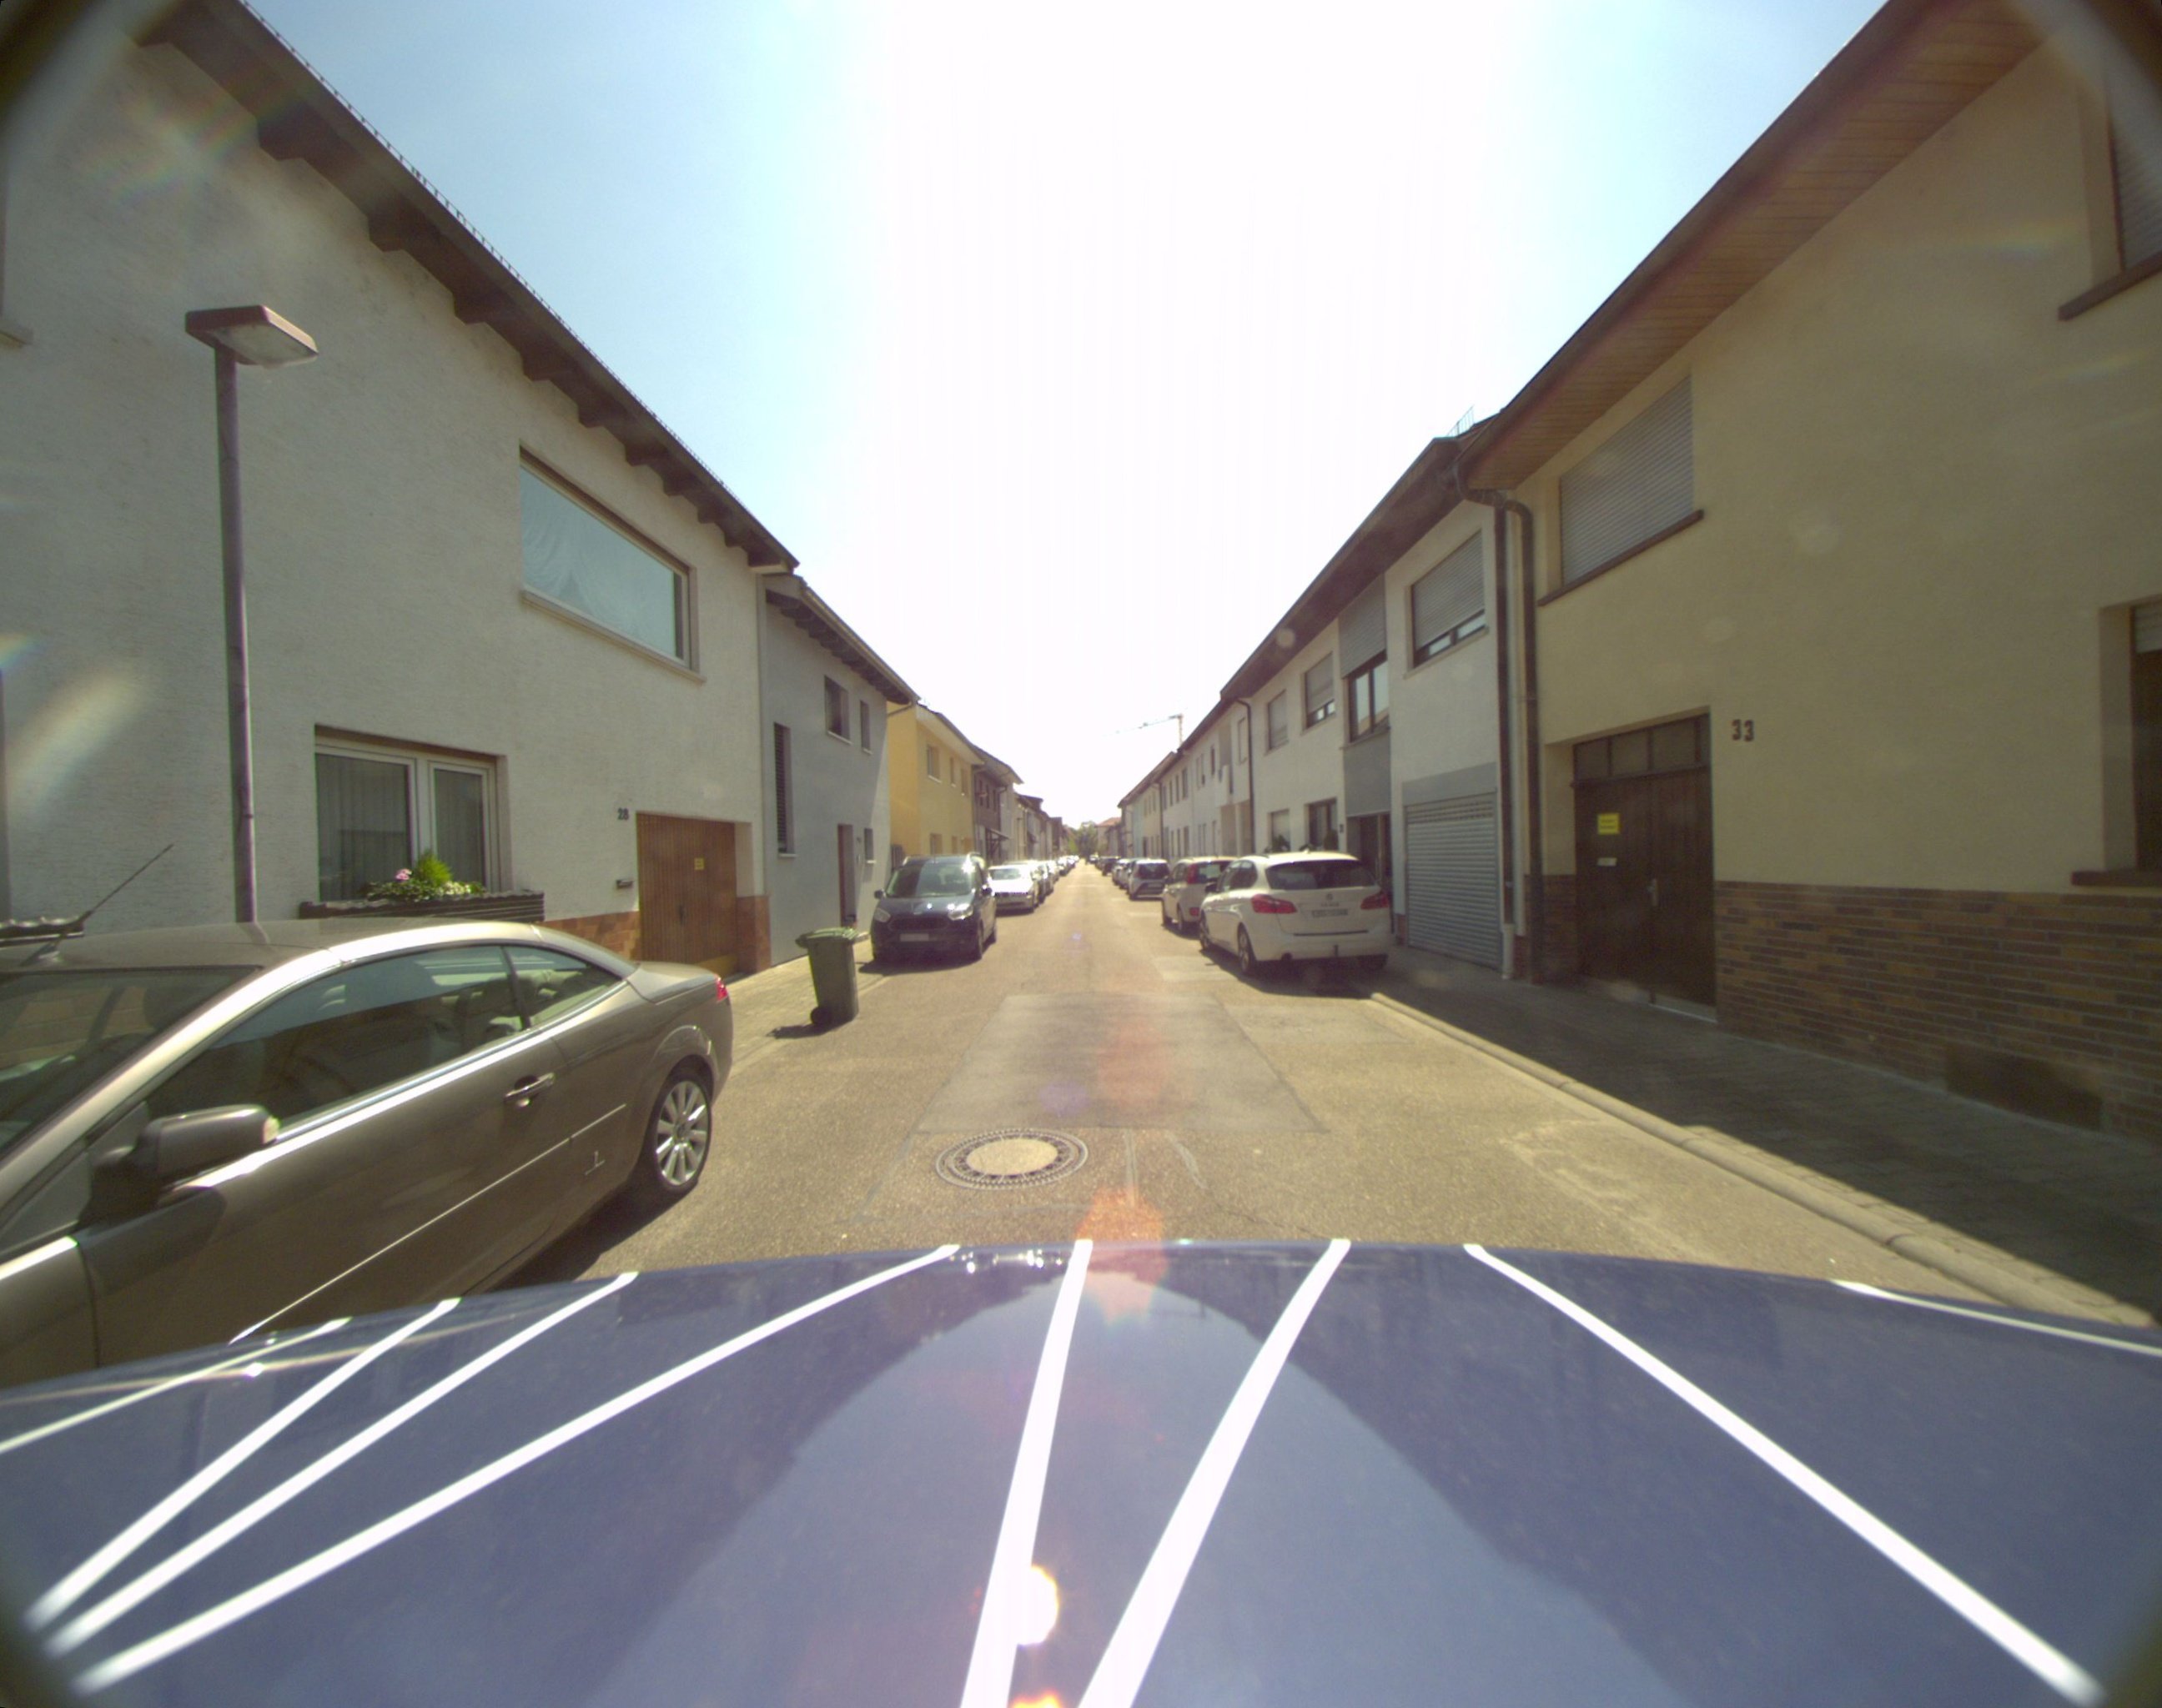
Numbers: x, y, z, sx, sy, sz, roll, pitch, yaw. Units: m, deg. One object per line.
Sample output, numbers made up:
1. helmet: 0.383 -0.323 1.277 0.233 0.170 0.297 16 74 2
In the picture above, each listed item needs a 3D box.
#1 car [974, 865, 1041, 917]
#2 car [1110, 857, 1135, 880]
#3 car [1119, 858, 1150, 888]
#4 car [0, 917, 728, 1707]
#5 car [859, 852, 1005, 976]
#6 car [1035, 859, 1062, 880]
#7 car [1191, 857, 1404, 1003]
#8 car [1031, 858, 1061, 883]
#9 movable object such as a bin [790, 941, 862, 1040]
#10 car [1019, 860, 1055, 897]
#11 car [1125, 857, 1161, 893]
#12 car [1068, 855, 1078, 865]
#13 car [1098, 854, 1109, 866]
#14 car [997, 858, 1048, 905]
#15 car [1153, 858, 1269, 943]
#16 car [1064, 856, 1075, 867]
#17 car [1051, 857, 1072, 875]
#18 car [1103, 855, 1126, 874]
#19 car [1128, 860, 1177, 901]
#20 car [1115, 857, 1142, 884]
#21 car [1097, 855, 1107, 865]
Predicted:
1. car: -2.196 1.081 23.706 1.666 1.406 4.248 -1 0 0
2. car: 2.730 0.948 50.231 1.414 1.446 3.542 -1 0 0
3. car: 2.715 0.937 38.852 1.414 1.446 3.462 -1 0 1
4. car: -2.747 1.094 2.001 1.701 1.427 4.102 -3 0 -1
5. car: -2.419 0.891 13.380 1.701 1.767 4.199 -1 1 0
6. car: -2.371 1.144 56.272 1.761 1.351 4.045 -3 0 0
7. car: 2.805 0.889 10.796 1.667 1.540 3.941 -4 0 -2
8. car: -2.299 1.087 50.752 1.743 1.459 4.045 -3 0 -1
9. movable object such as a bin: -2.611 1.382 7.819 0.551 0.886 0.579 -2 1 -6
10. car: -1.958 1.078 34.705 1.403 1.518 3.398 -3 0 -1
11. car: 2.711 0.900 33.744 1.414 1.519 3.025 -1 0 1
12. car: -1.294 0.911 123.224 1.414 1.604 3.323 -1 0 0
13. car: 3.123 0.873 106.445 1.414 1.582 3.323 -1 0 0
14. car: -2.159 0.989 28.959 1.684 1.575 3.961 -2 0 -2
15. car: 2.663 0.904 16.349 1.667 1.532 3.687 -2 0 -2
16. car: -1.570 1.001 104.570 1.414 1.389 3.323 -1 0 0
17. car: -1.753 1.057 69.182 1.736 1.502 3.623 -3 0 0
18. car: 2.914 0.888 66.140 1.819 1.598 3.887 -1 0 0
19. car: 2.677 0.977 28.915 1.606 1.434 3.214 -1 0 1
20. car: 2.735 0.949 44.426 1.414 1.446 3.543 -1 0 1
21. car: 3.150 0.871 114.235 1.414 1.389 3.323 -1 0 0
